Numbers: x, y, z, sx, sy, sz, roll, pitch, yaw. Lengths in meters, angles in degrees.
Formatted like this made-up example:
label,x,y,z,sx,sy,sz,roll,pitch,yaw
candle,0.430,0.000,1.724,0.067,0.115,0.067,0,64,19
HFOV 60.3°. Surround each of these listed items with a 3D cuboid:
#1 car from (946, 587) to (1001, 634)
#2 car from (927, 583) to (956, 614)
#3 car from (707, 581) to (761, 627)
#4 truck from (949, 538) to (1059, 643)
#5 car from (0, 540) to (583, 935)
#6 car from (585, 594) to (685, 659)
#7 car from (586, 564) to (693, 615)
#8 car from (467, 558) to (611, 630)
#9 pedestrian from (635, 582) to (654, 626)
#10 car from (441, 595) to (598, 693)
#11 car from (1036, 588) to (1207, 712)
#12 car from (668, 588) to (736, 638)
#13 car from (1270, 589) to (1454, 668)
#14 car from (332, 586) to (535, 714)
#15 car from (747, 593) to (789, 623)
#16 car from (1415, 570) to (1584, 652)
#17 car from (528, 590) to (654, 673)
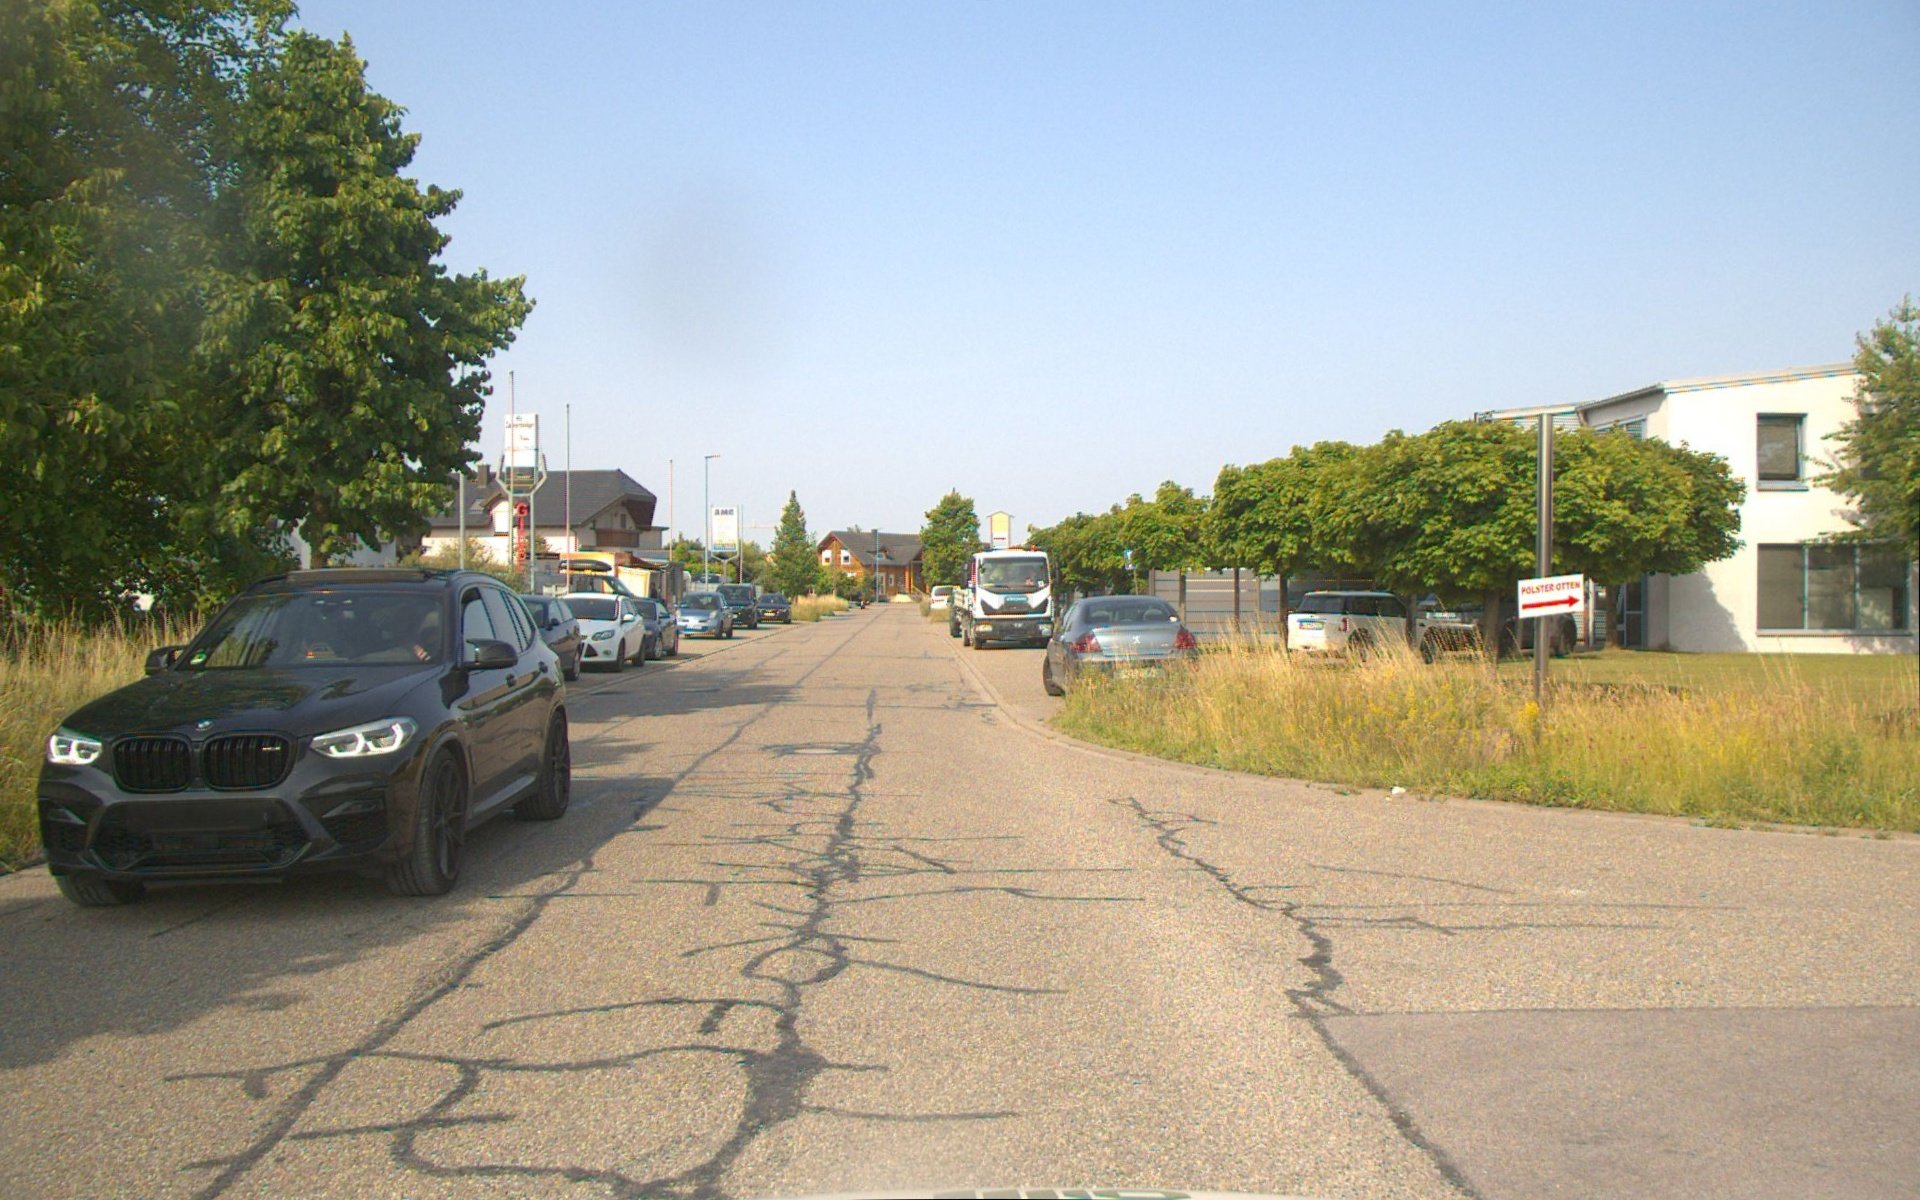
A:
label,x,y,z,sx,sy,sz,roll,pitch,yaw
car,0.458,0.339,58.600,1.758,1.588,3.998,0,0,-2
car,-1.211,-0.098,108.434,1.800,1.957,3.755,-1,0,-2
car,-9.386,0.157,68.939,1.764,1.805,4.200,2,0,-3
truck,1.137,-0.265,46.519,2.313,2.728,6.503,0,0,-5
car,-3.525,0.609,9.645,1.819,1.745,4.224,-1,0,-3
car,-7.605,0.586,39.055,1.600,1.411,4.367,2,0,-2
car,-17.307,-0.567,89.404,5.049,2.631,2.578,-1,0,19
car,-14.706,-0.211,57.946,4.532,2.459,2.000,0,0,0
pedestrian,-12.495,0.149,65.549,0.558,1.745,0.526,0,0,-40
car,-7.252,0.676,27.599,1.546,1.469,3.963,2,0,0
car,2.117,0.622,22.864,1.758,1.544,4.422,1,0,-2
car,-8.480,0.410,54.599,1.599,1.544,3.605,2,0,1
car,7.728,0.512,31.652,3.666,1.404,1.662,-1,0,-42
car,-7.121,0.626,22.721,1.534,1.565,3.688,2,0,1
car,-9.424,0.371,81.543,1.764,1.411,3.636,2,0,-3
car,11.495,0.249,35.085,1.658,1.617,4.504,1,0,43
car,-7.246,0.574,32.841,1.649,1.495,4.252,2,0,-2
